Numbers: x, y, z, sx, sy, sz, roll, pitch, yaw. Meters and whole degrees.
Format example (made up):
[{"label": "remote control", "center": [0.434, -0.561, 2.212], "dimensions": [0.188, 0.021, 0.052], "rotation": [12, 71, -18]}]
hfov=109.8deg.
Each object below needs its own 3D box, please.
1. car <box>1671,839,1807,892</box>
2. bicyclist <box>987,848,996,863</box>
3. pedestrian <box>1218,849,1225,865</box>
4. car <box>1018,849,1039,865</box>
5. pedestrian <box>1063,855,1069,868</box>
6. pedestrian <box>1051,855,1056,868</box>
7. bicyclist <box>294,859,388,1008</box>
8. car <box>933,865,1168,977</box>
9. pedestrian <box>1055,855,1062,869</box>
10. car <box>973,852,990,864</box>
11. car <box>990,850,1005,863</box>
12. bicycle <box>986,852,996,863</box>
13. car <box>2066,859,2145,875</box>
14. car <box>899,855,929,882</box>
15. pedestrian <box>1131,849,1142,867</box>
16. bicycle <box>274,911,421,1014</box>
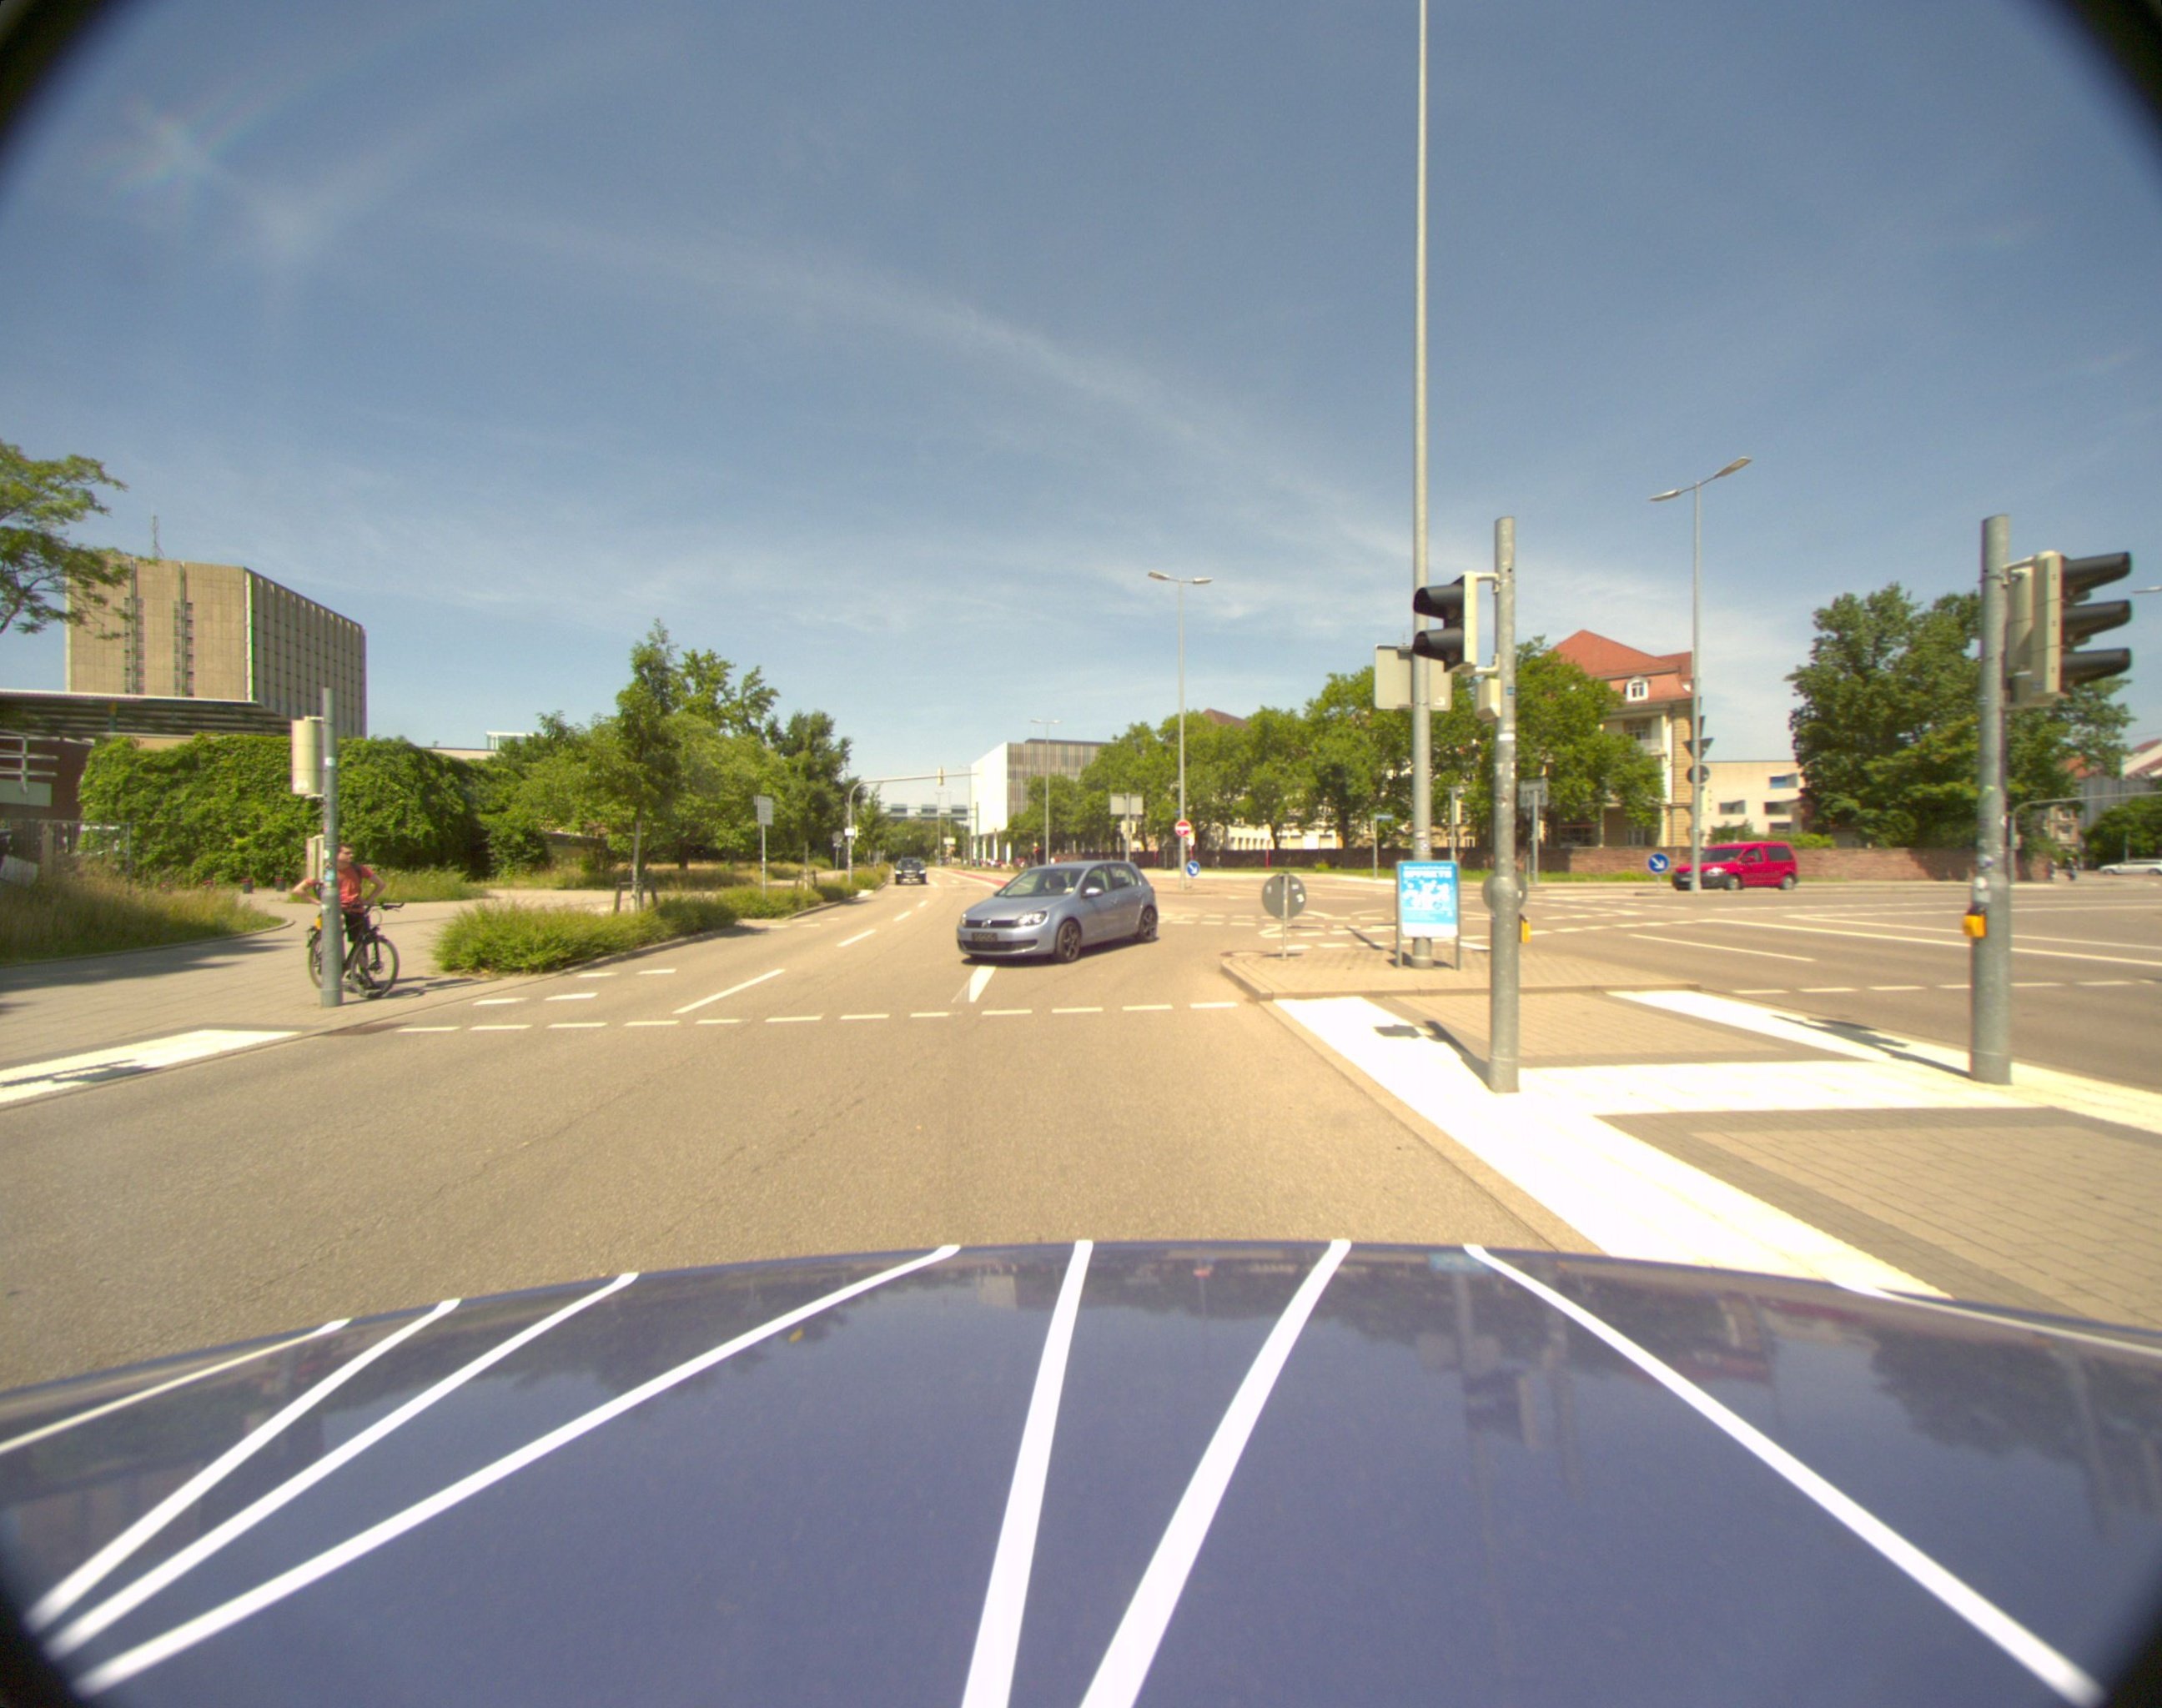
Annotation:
[{"label": "car", "center": [22.993, 0.416, 26.555], "dimensions": [4.284, 1.755, 1.831], "rotation": [0, -2, -23]}, {"label": "bicyclist", "center": [-10.822, 0.196, 91.975], "dimensions": [0.710, 1.875, 1.136], "rotation": [0, -2, -25]}, {"label": "pedestrian", "center": [15.500, 0.311, 83.836], "dimensions": [0.590, 1.710, 0.525], "rotation": [1, -2, -41]}, {"label": "car", "center": [-7.291, 0.458, 105.175], "dimensions": [2.001, 2.001, 4.210], "rotation": [0, -2, -16]}, {"label": "pedestrian", "center": [-2.217, 1.100, 112.311], "dimensions": [0.789, 2.001, 0.839], "rotation": [0, -2, -16]}, {"label": "pedestrian", "center": [-4.051, 1.103, 111.750], "dimensions": [0.550, 2.001, 0.536], "rotation": [0, -2, -16]}, {"label": "bicyclist", "center": [-8.867, 0.915, 9.108], "dimensions": [0.701, 1.705, 0.552], "rotation": [0, -1, 24]}, {"label": "car", "center": [-0.299, 0.927, 12.274], "dimensions": [1.828, 1.406, 4.002], "rotation": [-1, 0, 32]}, {"label": "pedestrian", "center": [-3.298, 1.145, 112.112], "dimensions": [0.789, 2.001, 0.963], "rotation": [0, -2, -16]}, {"label": "car", "center": [-14.707, 0.604, 111.702], "dimensions": [1.780, 1.658, 3.995], "rotation": [0, -2, -18]}, {"label": "car", "center": [-12.380, 0.389, 112.439], "dimensions": [1.782, 1.673, 3.997], "rotation": [0, -2, -14]}, {"label": "bicycle", "center": [-10.869, 0.429, 91.911], "dimensions": [0.522, 1.229, 2.188], "rotation": [0, -2, -25]}, {"label": "car", "center": [103.192, 1.289, 76.627], "dimensions": [1.821, 1.420, 4.423], "rotation": [1, 1, -6]}, {"label": "car", "center": [-10.463, 0.964, 47.927], "dimensions": [1.709, 1.576, 4.553], "rotation": [0, -2, -11]}, {"label": "pedestrian", "center": [7.086, 0.556, 96.811], "dimensions": [0.851, 2.276, 1.073], "rotation": [0, -2, -32]}, {"label": "bicycle", "center": [-8.759, 1.248, 9.058], "dimensions": [1.992, 1.039, 0.560], "rotation": [1, -1, 25]}]
